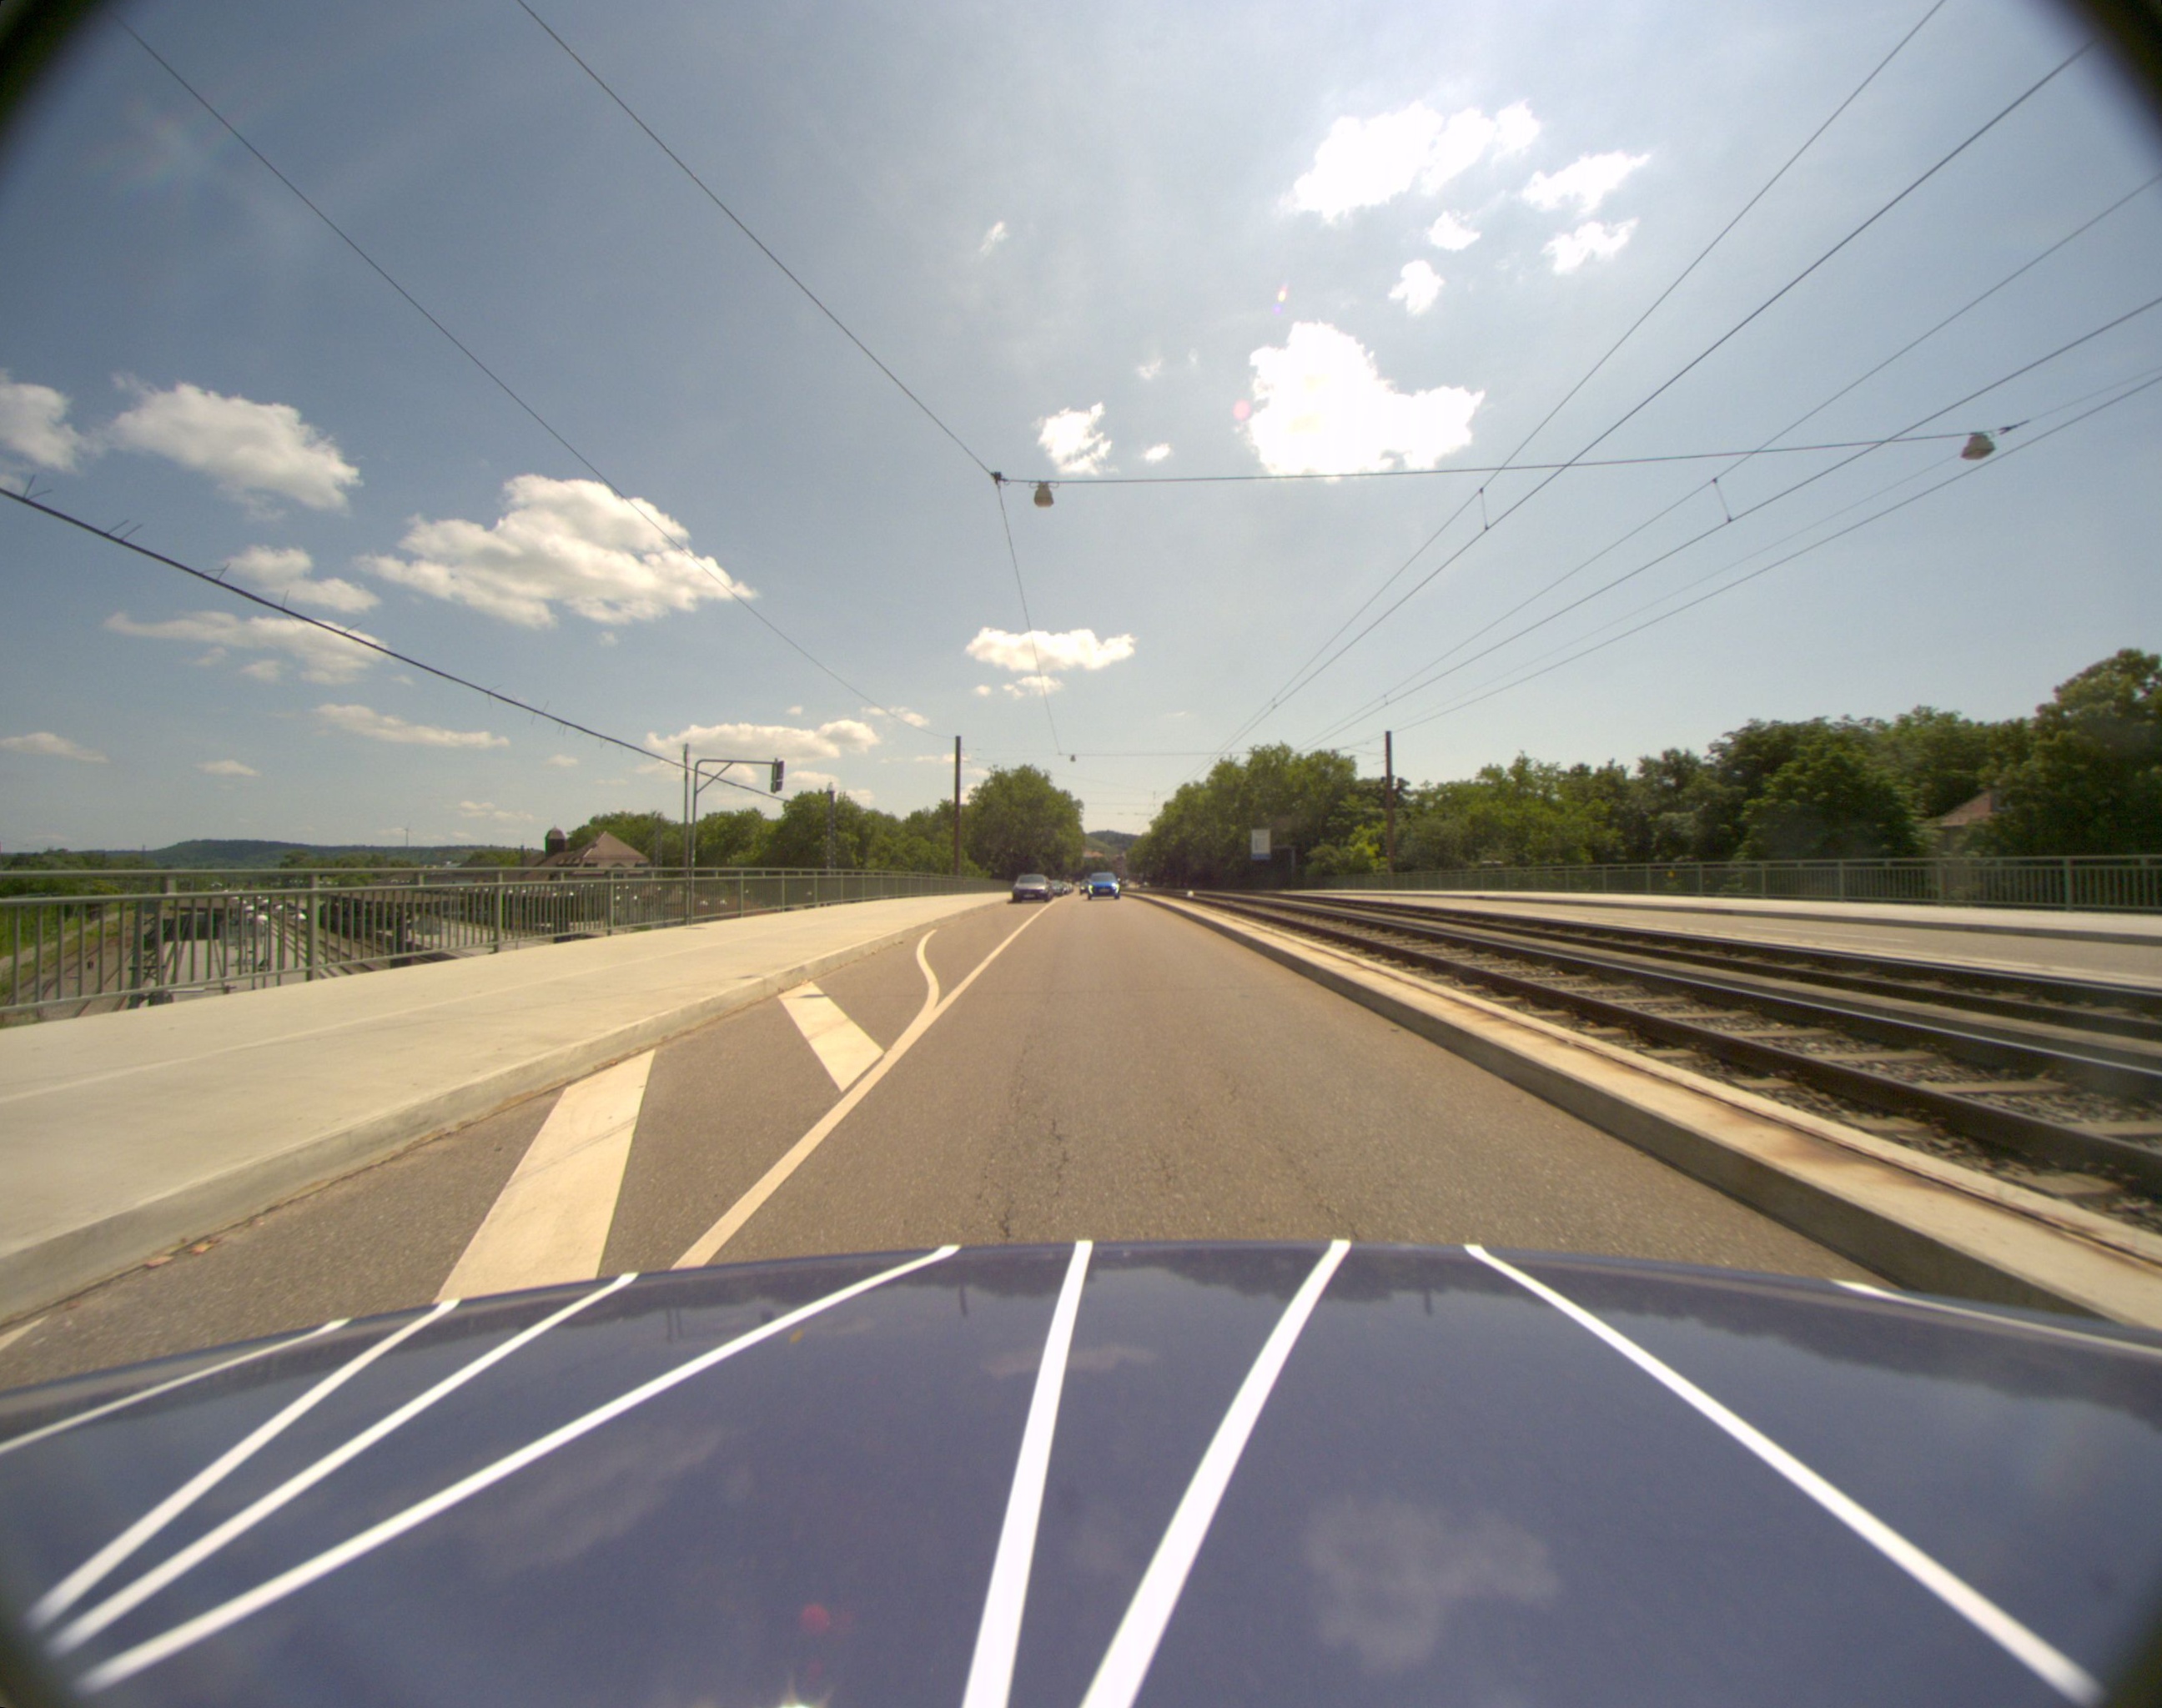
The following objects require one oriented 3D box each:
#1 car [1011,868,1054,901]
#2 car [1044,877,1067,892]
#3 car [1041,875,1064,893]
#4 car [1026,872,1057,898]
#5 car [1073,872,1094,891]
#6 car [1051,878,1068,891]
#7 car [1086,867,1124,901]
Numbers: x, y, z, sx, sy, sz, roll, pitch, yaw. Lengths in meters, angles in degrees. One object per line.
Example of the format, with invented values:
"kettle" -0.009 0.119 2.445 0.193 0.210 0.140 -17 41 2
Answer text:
"car" -2.446 1.593 39.540 1.999 1.542 4.722 -2 -2 -1
"car" -2.667 3.170 79.041 1.998 1.431 4.002 -2 -2 3
"car" -2.299 2.467 61.874 1.689 1.350 4.594 -2 -2 -2
"car" -2.409 1.942 47.718 1.651 1.451 4.287 -2 -2 0
"car" 0.228 2.706 75.078 1.797 1.725 3.769 -3 -3 3
"car" -2.333 3.387 84.283 1.759 1.381 3.701 -1 -2 0
"car" 1.264 1.584 40.474 1.865 1.630 4.001 -2 -2 1
